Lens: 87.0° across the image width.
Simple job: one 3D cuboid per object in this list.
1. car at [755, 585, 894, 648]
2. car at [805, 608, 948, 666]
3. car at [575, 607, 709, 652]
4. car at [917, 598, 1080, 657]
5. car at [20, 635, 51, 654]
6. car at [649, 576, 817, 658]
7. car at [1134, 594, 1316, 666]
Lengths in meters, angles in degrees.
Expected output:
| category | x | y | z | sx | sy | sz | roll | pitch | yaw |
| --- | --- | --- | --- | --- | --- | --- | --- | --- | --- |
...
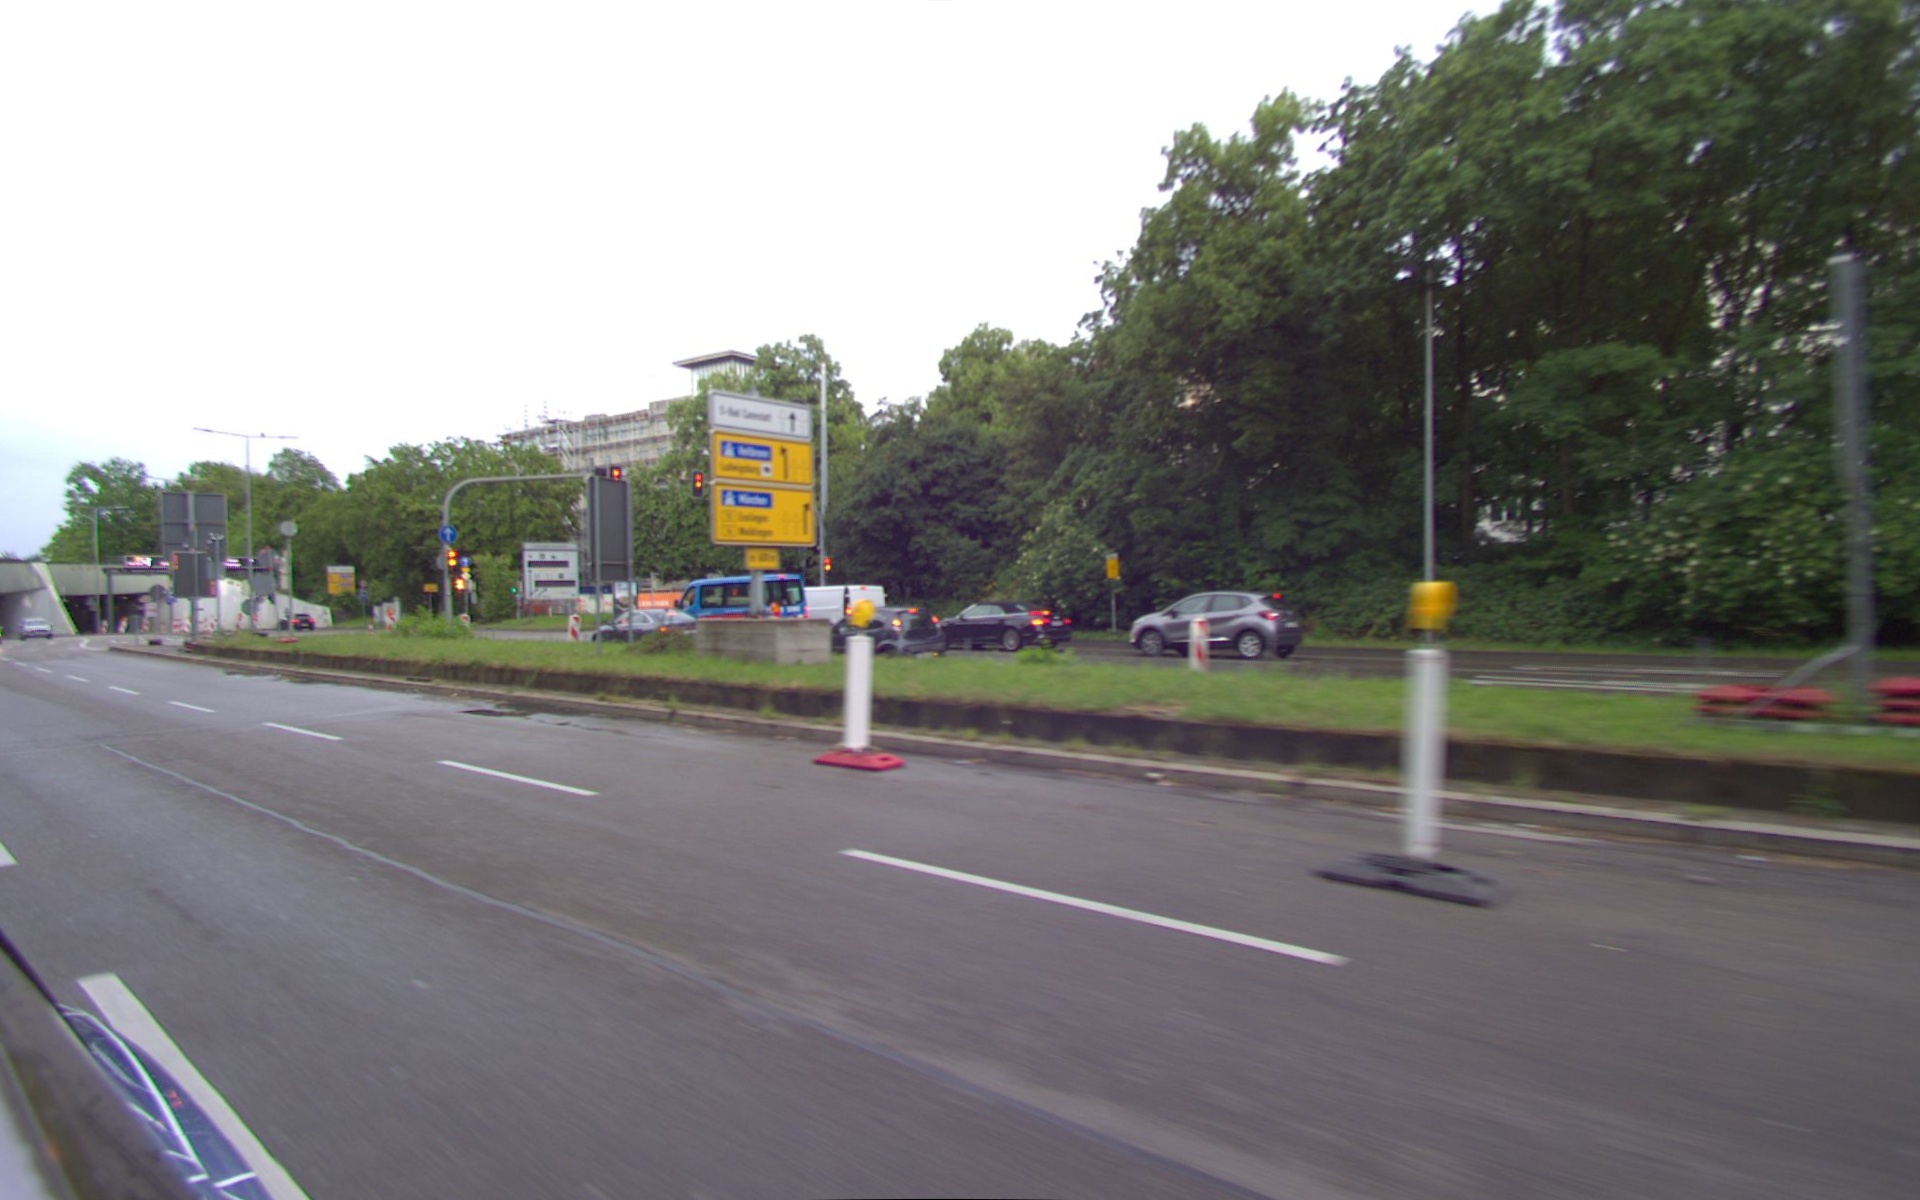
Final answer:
| category | x | y | z | sx | sy | sz | roll | pitch | yaw |
| --- | --- | --- | --- | --- | --- | --- | --- | --- | --- |
| car | -4.716 | 0.594 | 34.782 | 4.990 | 1.989 | 2.012 | -3 | -1 | 43 |
| car | -1.952 | 0.819 | 23.165 | 3.301 | 1.209 | 1.414 | -1 | 0 | 44 |
| car | -9.469 | 0.856 | 29.904 | 4.643 | 1.209 | 1.533 | -1 | 0 | 40 |
| car | 1.012 | 0.757 | 28.783 | 4.635 | 1.535 | 1.773 | -1 | 0 | 44 |
| car | -69.230 | 3.289 | 75.776 | 1.674 | 1.317 | 3.828 | 0 | -1 | -44 |
| car | -7.483 | 0.593 | 32.889 | 6.244 | 2.408 | 2.171 | -3 | -1 | 43 |
| car | 6.174 | 0.674 | 23.814 | 3.790 | 1.535 | 1.653 | -1 | 0 | 44 |
